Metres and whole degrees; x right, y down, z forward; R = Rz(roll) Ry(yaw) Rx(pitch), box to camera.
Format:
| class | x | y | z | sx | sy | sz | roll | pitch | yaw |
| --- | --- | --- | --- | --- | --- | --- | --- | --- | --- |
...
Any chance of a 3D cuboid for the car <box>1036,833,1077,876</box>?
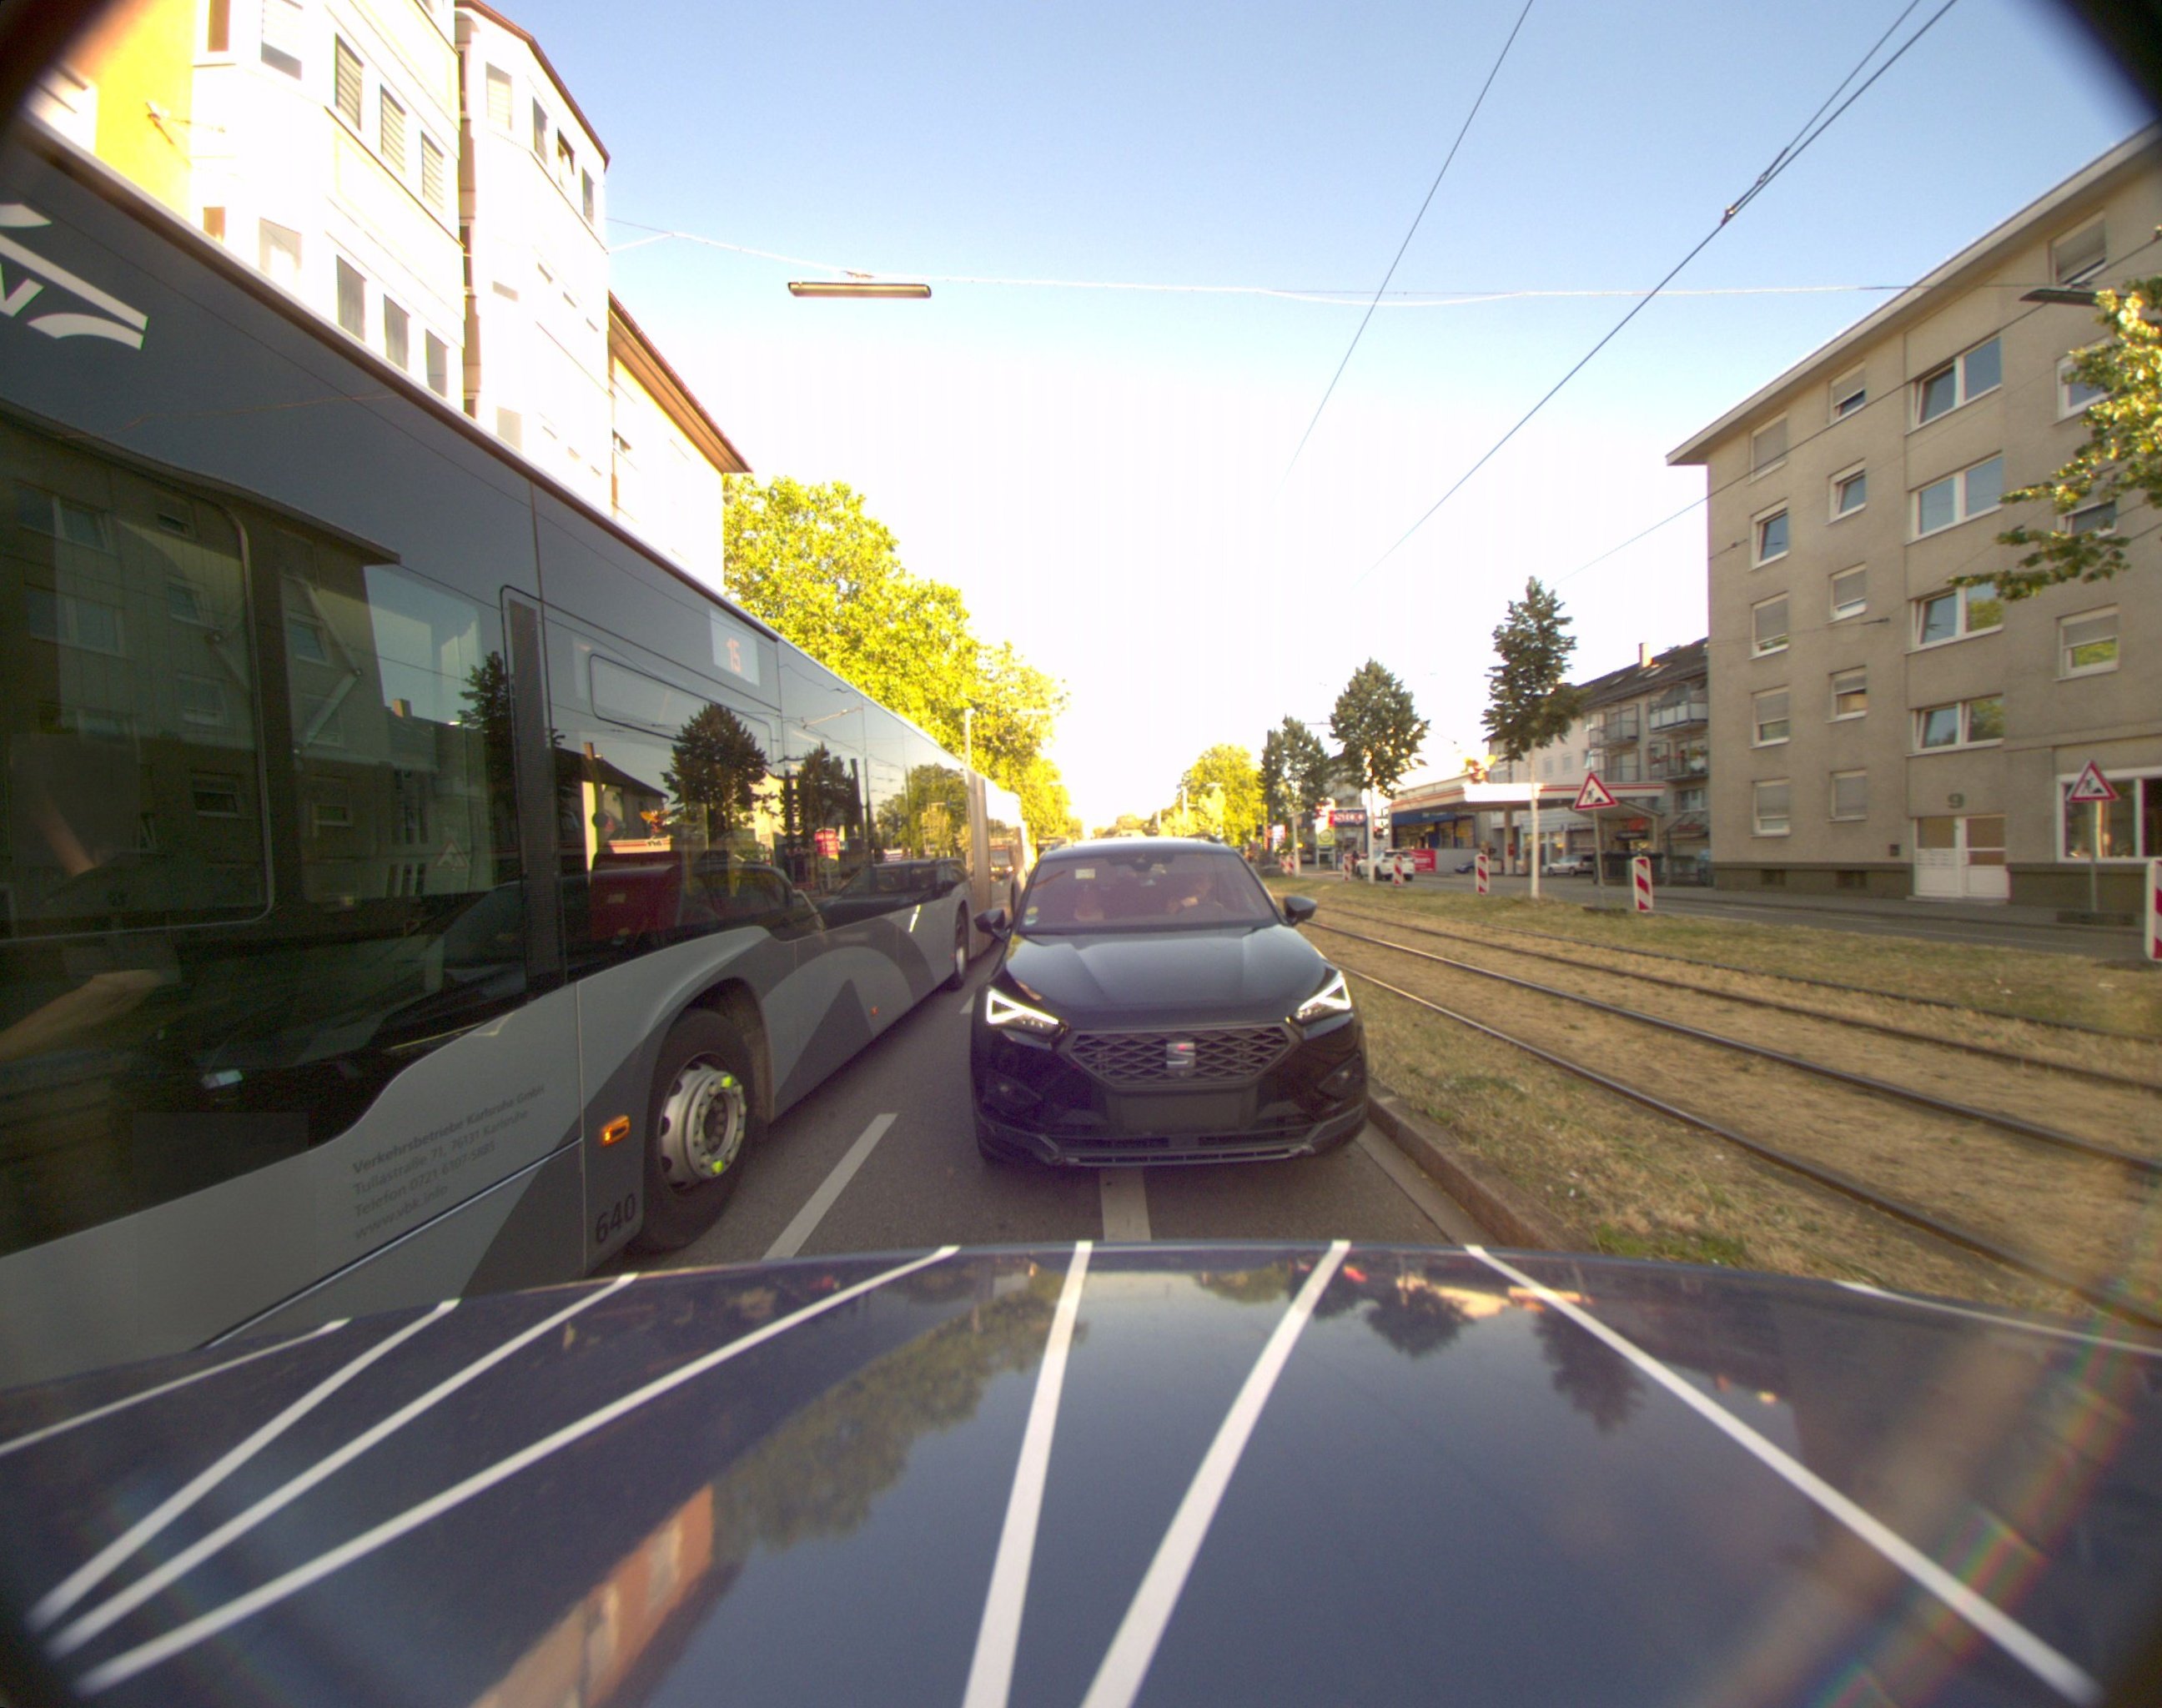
| class | x | y | z | sx | sy | sz | roll | pitch | yaw |
| --- | --- | --- | --- | --- | --- | --- | --- | --- | --- |
| car | -1.711 | 0.025 | 55.729 | 2.681 | 2.875 | 5.452 | -2 | 1 | 0 |

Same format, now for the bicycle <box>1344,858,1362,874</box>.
| class | x | y | z | sx | sy | sz | roll | pitch | yaw |
| --- | --- | --- | --- | --- | --- | --- | --- | --- | --- |
| bicycle | 17.777 | 0.765 | 49.672 | 0.447 | 1.038 | 1.860 | 0 | 0 | -2 |

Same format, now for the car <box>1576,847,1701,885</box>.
| class | x | y | z | sx | sy | sz | roll | pitch | yaw |
| --- | --- | --- | --- | --- | --- | --- | --- | --- | --- |
| car | 22.781 | 0.502 | 31.160 | 3.727 | 1.460 | 1.908 | 0 | -1 | 0 |

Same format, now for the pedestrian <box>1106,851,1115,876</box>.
| class | x | y | z | sx | sy | sz | roll | pitch | yaw |
| --- | --- | --- | --- | --- | --- | --- | --- | --- | --- |
| pedestrian | 2.409 | 0.771 | 61.761 | 0.625 | 2.002 | 0.695 | -2 | 0 | 0 |

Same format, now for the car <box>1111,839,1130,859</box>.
| class | x | y | z | sx | sy | sz | roll | pitch | yaw |
| --- | --- | --- | --- | --- | --- | --- | --- | --- | --- |
| car | 4.072 | -0.525 | 78.542 | 1.767 | 2.002 | 3.791 | -2 | 1 | 1 |

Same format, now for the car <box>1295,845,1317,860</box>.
| class | x | y | z | sx | sy | sz | roll | pitch | yaw |
| --- | --- | --- | --- | --- | --- | --- | --- | --- | --- |
| car | 25.097 | -0.209 | 84.771 | 1.781 | 1.547 | 4.002 | -2 | 1 | 9 |

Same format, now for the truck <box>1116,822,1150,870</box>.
| class | x | y | z | sx | sy | sz | roll | pitch | yaw |
| --- | --- | --- | --- | --- | --- | --- | --- | --- | --- |
| truck | 4.323 | -0.694 | 64.541 | 2.306 | 3.798 | 7.723 | -2 | 1 | 1 |

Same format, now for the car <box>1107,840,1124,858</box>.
| class | x | y | z | sx | sy | sz | roll | pitch | yaw |
| --- | --- | --- | --- | --- | --- | --- | --- | --- | --- |
| car | 4.000 | -0.627 | 87.896 | 1.767 | 2.002 | 3.791 | -2 | 1 | 1 |

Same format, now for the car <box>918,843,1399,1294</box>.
| class | x | y | z | sx | sy | sz | roll | pitch | yaw |
| --- | --- | --- | --- | --- | --- | --- | --- | --- | --- |
| car | 0.324 | 0.816 | 4.893 | 1.774 | 1.667 | 4.000 | -2 | 0 | 1 |

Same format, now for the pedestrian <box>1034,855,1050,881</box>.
| class | x | y | z | sx | sy | sz | roll | pitch | yaw |
| --- | --- | --- | --- | --- | --- | --- | --- | --- | --- |
| pedestrian | -2.325 | 0.827 | 45.401 | 0.700 | 1.552 | 0.508 | -3 | 1 | -35 |

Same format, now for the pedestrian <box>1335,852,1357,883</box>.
| class | x | y | z | sx | sy | sz | roll | pitch | yaw |
| --- | --- | --- | --- | --- | --- | --- | --- | --- | --- |
| pedestrian | 10.914 | 0.549 | 31.257 | 0.664 | 1.263 | 0.581 | -2 | 0 | 1 |

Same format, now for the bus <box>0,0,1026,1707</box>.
| class | x | y | z | sx | sy | sz | roll | pitch | yaw |
| --- | --- | --- | --- | --- | --- | --- | --- | --- | --- |
| bus | -2.807 | 0.168 | 9.014 | 2.773 | 3.131 | 17.740 | -2 | 0 | 1 |

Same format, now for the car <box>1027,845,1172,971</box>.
| class | x | y | z | sx | sy | sz | roll | pitch | yaw |
| --- | --- | --- | --- | --- | --- | --- | --- | --- | --- |
| car | 0.284 | 0.746 | 12.575 | 1.998 | 1.739 | 4.000 | 0 | 0 | 1 |

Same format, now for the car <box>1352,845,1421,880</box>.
| class | x | y | z | sx | sy | sz | roll | pitch | yaw |
| --- | --- | --- | --- | --- | --- | --- | --- | --- | --- |
| car | 16.214 | 0.423 | 40.533 | 1.998 | 1.725 | 4.393 | -1 | 1 | 1 |

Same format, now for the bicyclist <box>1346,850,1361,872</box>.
| class | x | y | z | sx | sy | sz | roll | pitch | yaw |
| --- | --- | --- | --- | --- | --- | --- | --- | --- | --- |
| bicyclist | 17.755 | 0.431 | 49.511 | 0.780 | 1.438 | 0.650 | 0 | 1 | -2 |

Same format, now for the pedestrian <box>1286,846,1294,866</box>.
| class | x | y | z | sx | sy | sz | roll | pitch | yaw |
| --- | --- | --- | --- | --- | --- | --- | --- | --- | --- |
| pedestrian | 20.408 | 0.177 | 74.092 | 0.632 | 2.002 | 0.583 | 0 | 1 | 2 |

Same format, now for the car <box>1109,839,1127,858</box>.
| class | x | y | z | sx | sy | sz | roll | pitch | yaw |
| --- | --- | --- | --- | --- | --- | --- | --- | --- | --- |
| car | 4.091 | -0.582 | 83.575 | 1.767 | 2.002 | 3.791 | -2 | 1 | 1 |

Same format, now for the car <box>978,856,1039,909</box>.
| class | x | y | z | sx | sy | sz | roll | pitch | yaw |
| --- | --- | --- | --- | --- | --- | --- | --- | --- | --- |
| car | -2.453 | 0.933 | 26.530 | 1.750 | 1.598 | 3.823 | -2 | 1 | -1 |
